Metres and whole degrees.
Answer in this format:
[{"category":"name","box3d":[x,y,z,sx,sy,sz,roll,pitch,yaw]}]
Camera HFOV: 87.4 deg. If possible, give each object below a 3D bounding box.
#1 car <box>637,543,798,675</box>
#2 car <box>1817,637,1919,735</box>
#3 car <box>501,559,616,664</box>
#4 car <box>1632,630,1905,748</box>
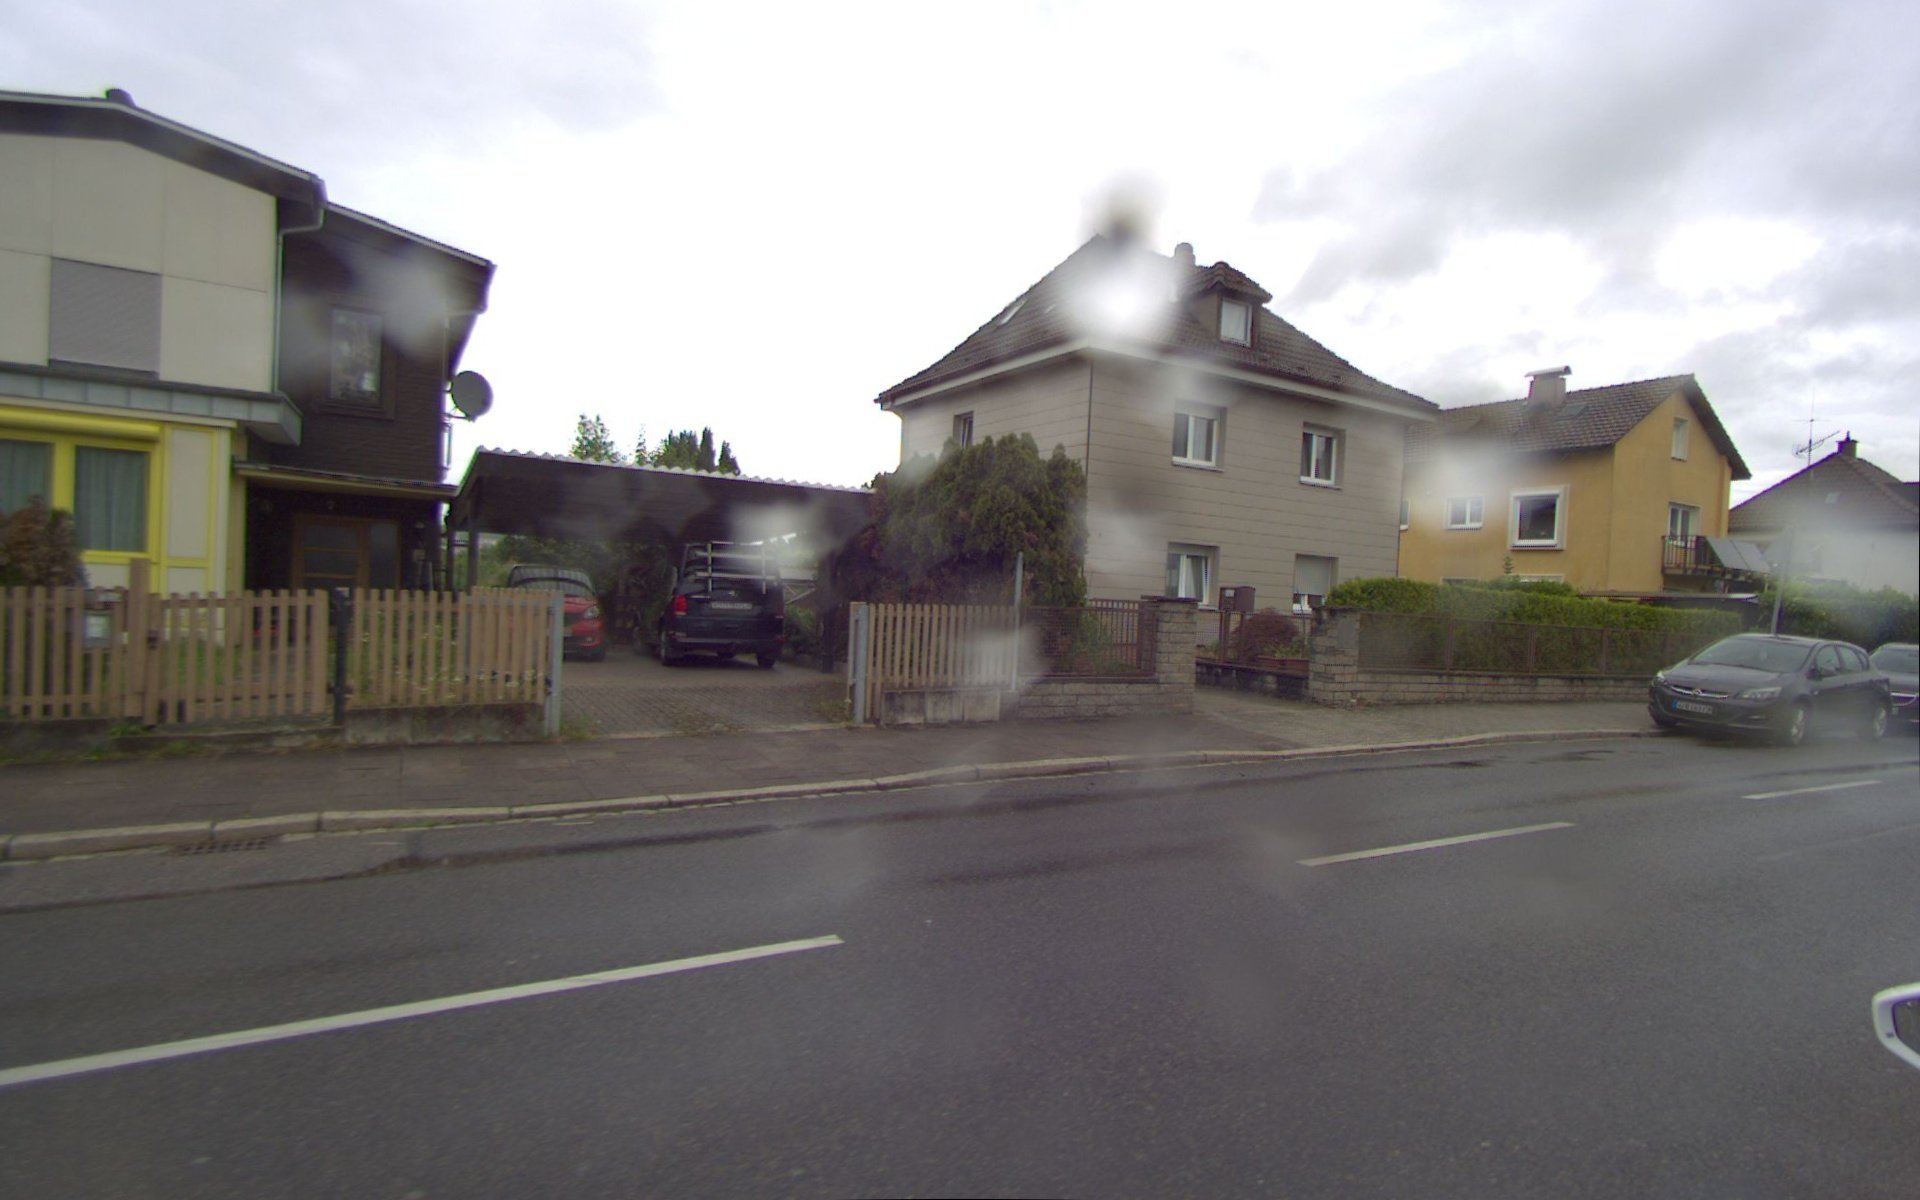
[{"category":"car","box3d":[-4.285,0.201,17.279,1.972,1.980,3.977,2,-2,-24]},{"category":"car","box3d":[17.383,1.551,18.059,4.479,1.537,1.740,4,-1,-33]},{"category":"car","box3d":[-6.877,0.219,17.061,1.572,1.603,3.169,1,-1,-26]},{"category":"car","box3d":[12.025,1.297,14.899,4.081,1.458,1.742,3,-1,-30]}]
